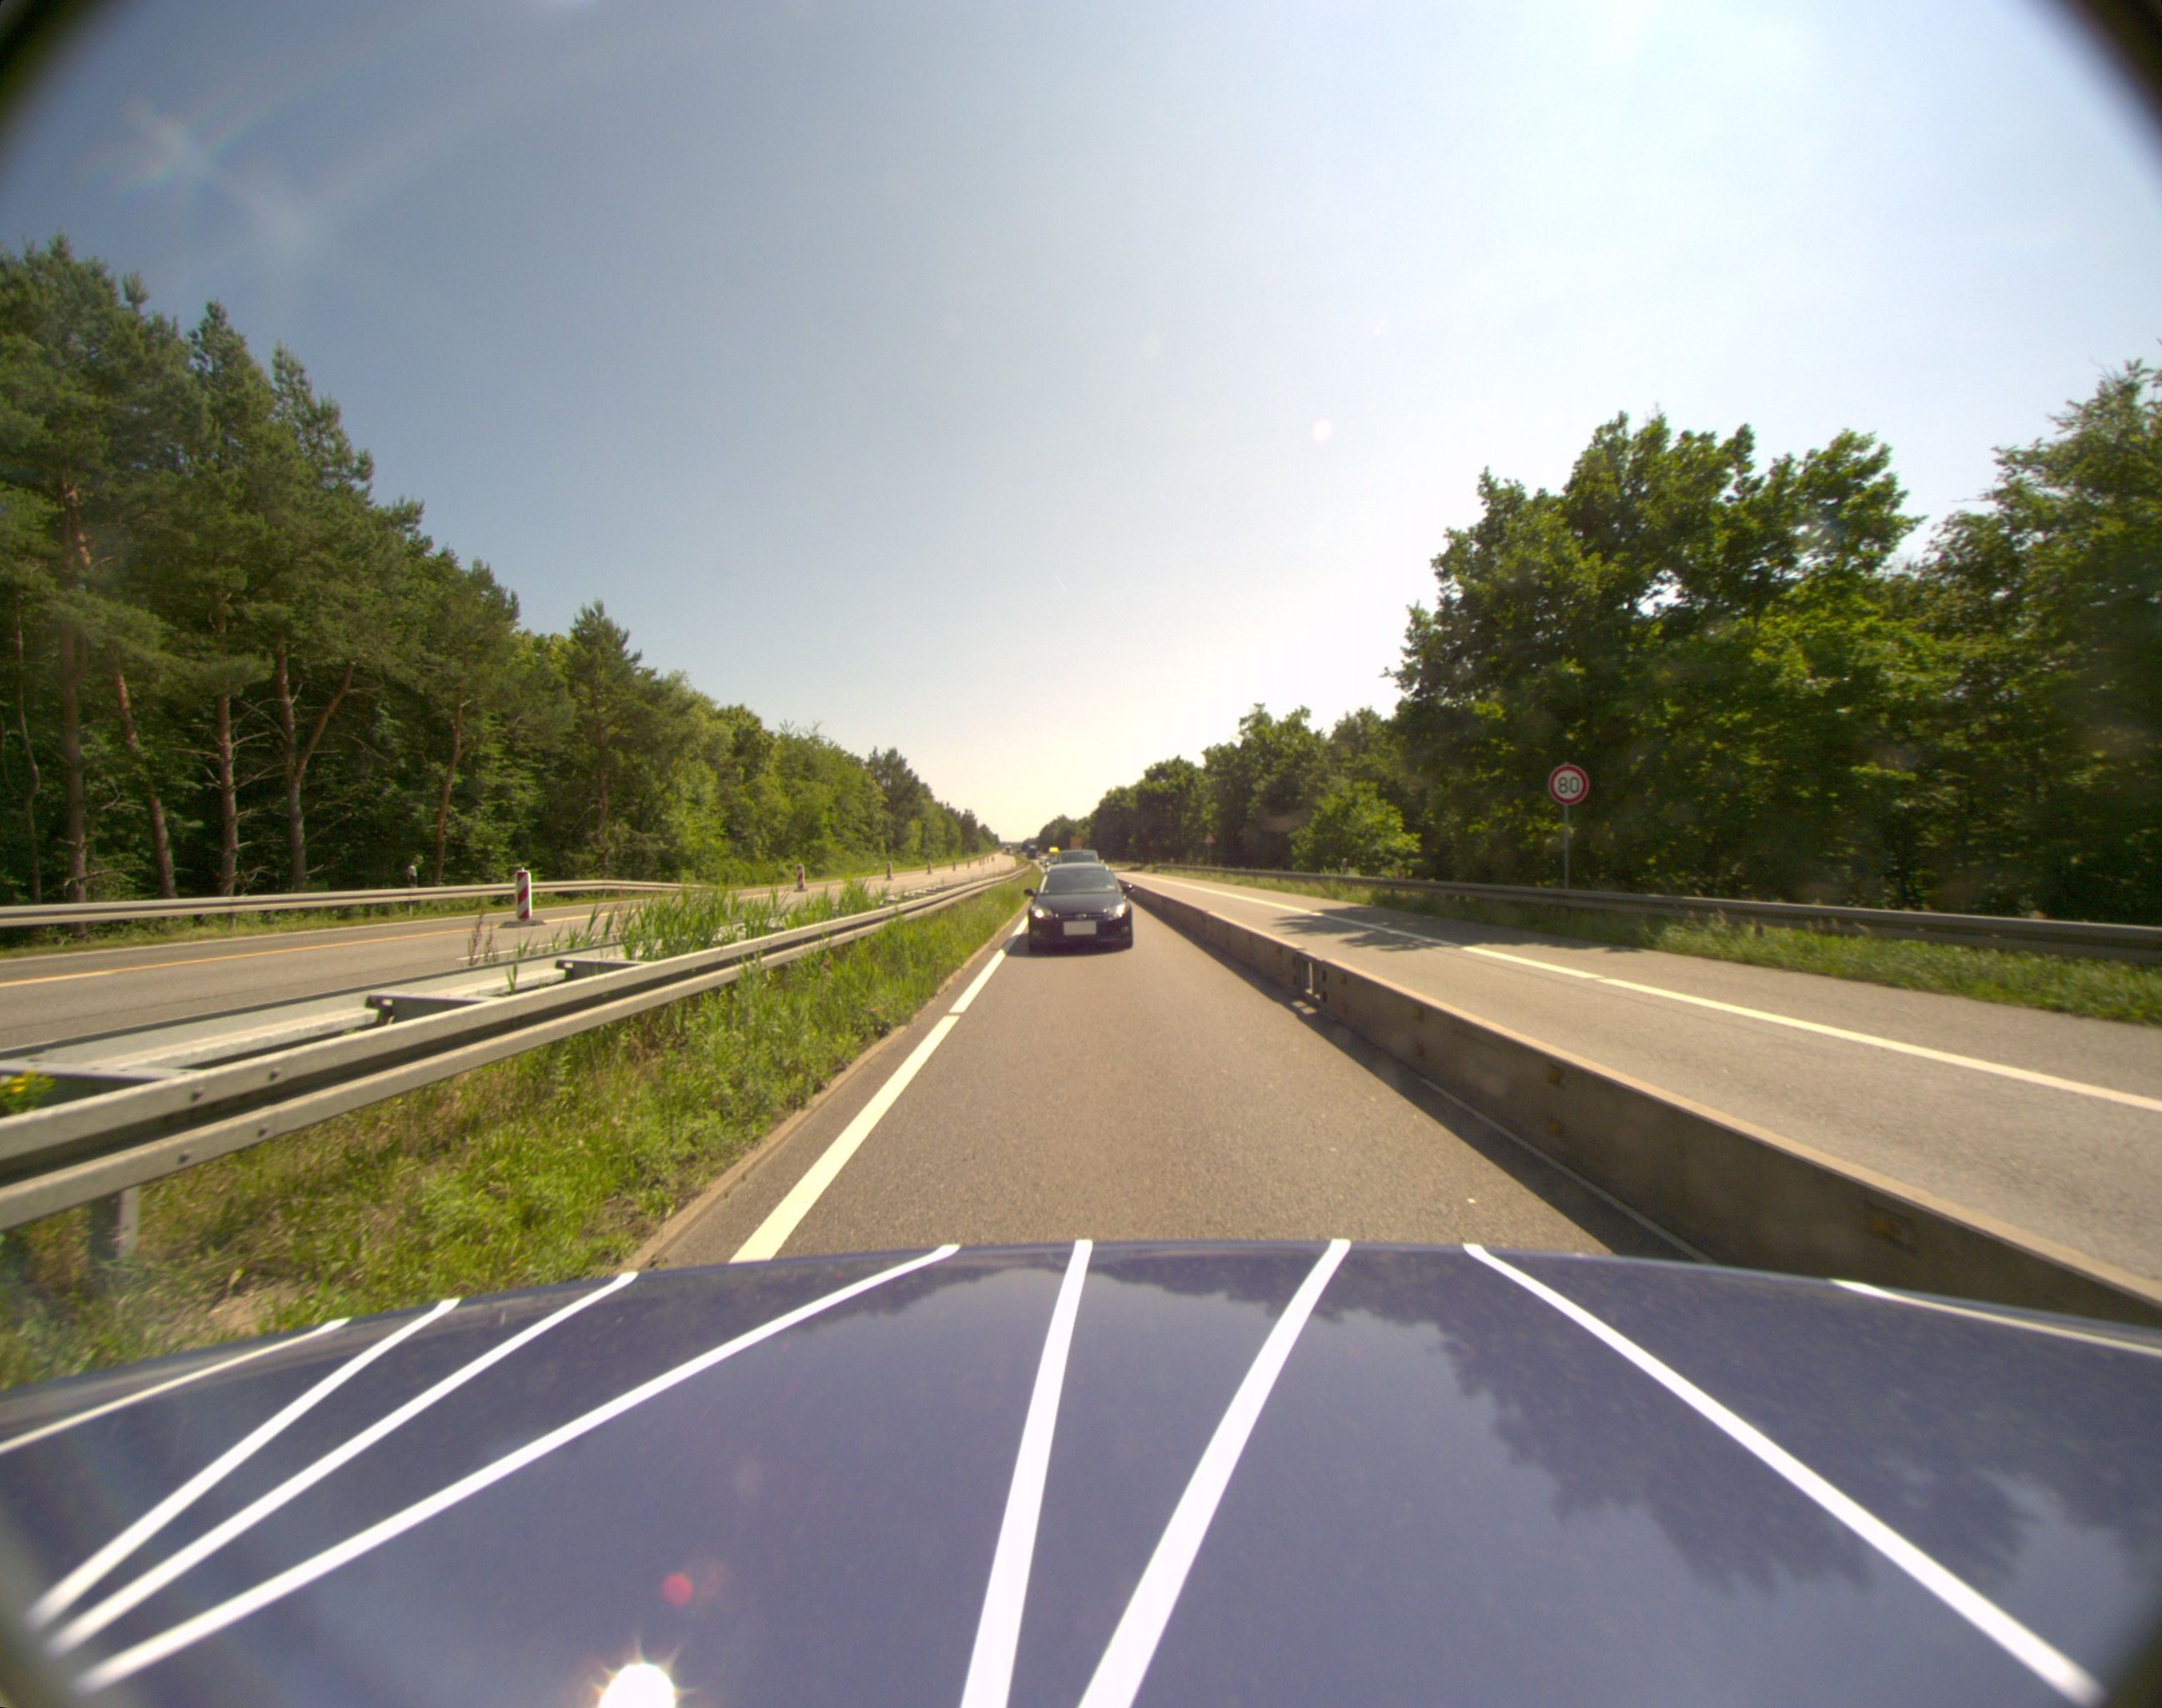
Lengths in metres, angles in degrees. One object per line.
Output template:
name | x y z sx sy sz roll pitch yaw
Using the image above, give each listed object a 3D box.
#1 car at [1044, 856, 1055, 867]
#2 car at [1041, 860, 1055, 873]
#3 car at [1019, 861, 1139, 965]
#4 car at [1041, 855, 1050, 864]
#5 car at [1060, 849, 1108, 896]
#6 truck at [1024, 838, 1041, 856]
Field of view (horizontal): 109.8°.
car | -4.970 1.161 121.872 1.527 1.647 3.981 -1 0 1
car | -4.357 1.619 99.990 1.527 1.647 3.981 -1 0 1
car | -0.055 0.968 14.544 1.847 1.536 4.935 -2 0 -1
car | -6.581 0.978 140.765 1.527 1.647 3.754 -1 0 1
car | 0.131 0.760 34.778 1.959 1.901 4.934 -2 1 0
truck | -14.622 -2.043 227.501 3.832 5.266 11.238 -1 0 -9
